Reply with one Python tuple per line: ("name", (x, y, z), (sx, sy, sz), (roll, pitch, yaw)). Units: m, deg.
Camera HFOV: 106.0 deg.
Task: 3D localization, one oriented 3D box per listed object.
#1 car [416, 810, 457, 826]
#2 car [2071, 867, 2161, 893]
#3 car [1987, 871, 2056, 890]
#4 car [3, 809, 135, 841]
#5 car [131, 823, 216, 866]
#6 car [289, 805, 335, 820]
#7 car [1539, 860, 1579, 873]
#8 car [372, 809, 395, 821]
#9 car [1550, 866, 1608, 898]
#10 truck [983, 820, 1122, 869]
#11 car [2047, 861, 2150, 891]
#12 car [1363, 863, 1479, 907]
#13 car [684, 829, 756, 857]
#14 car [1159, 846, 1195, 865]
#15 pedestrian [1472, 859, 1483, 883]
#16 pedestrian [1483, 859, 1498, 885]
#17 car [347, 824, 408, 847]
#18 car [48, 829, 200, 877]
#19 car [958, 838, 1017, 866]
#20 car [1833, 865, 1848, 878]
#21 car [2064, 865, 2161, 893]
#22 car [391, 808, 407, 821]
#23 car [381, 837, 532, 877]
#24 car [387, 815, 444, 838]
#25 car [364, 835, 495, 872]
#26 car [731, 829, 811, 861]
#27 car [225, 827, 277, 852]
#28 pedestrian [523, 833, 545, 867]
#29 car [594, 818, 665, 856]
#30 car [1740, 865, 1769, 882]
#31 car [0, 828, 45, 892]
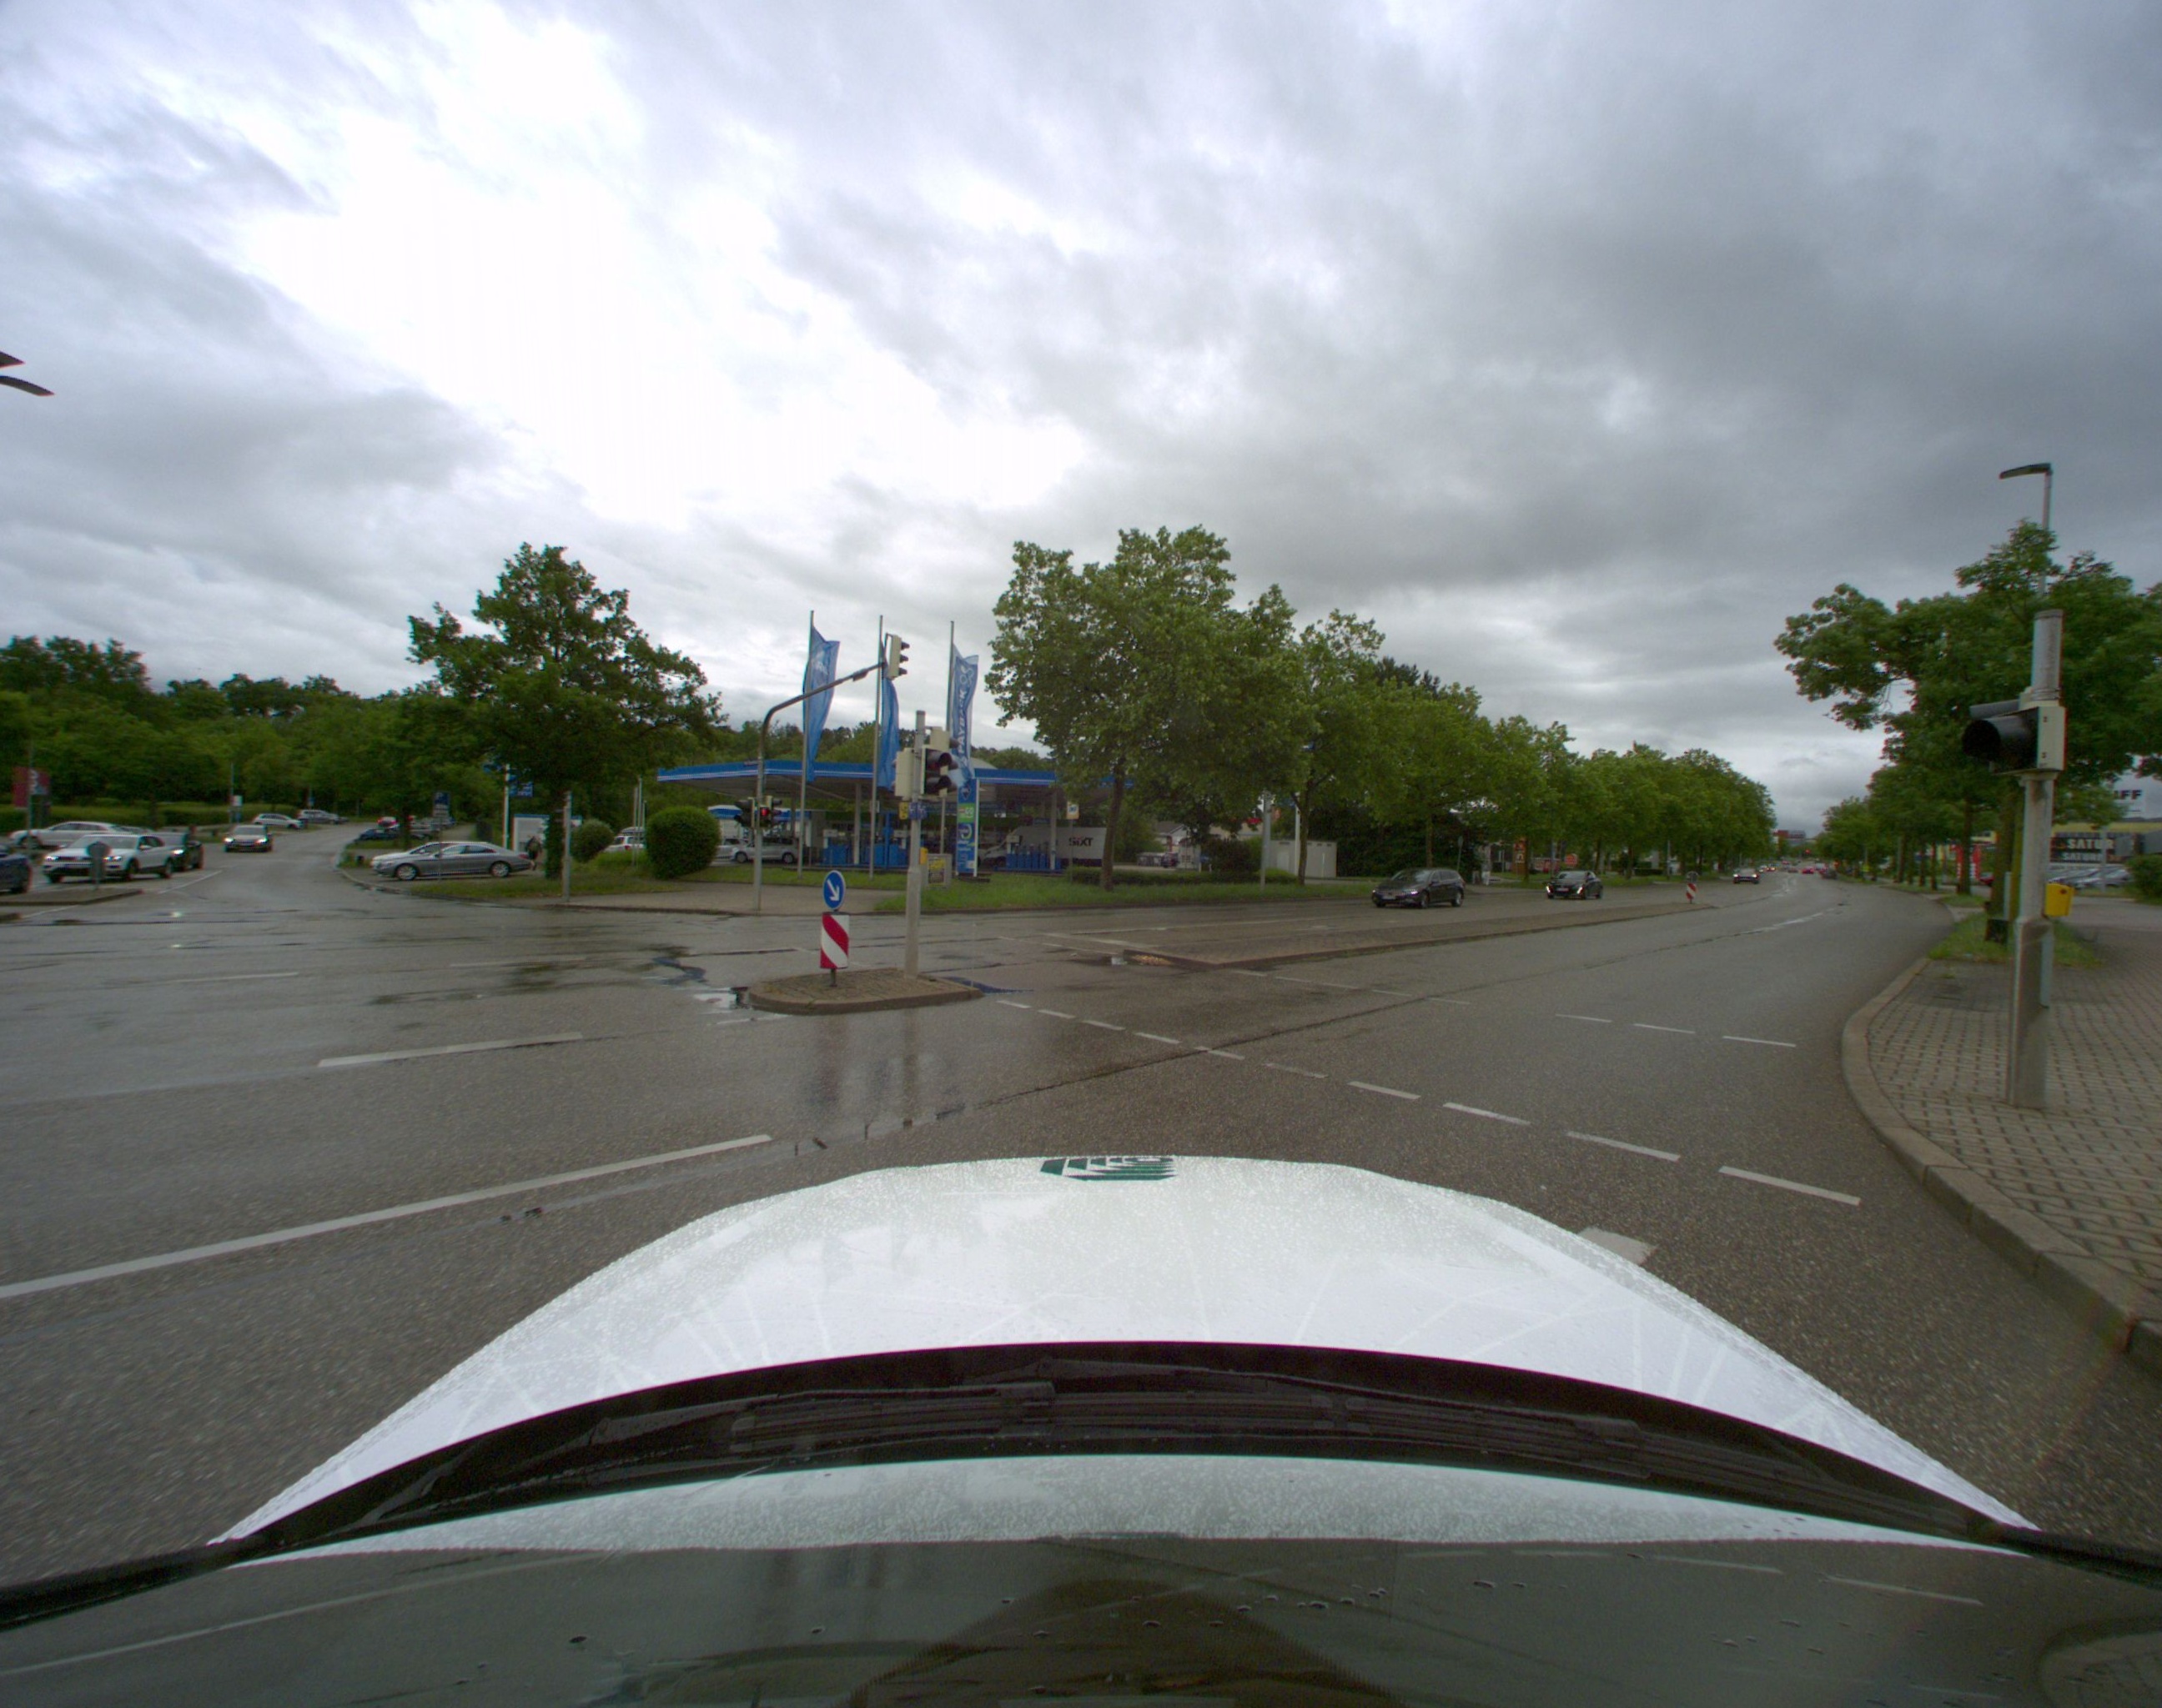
("car", (-80.885, -4.473, 102.211), (4.020, 1.739, 1.789), (1, -1, -40))
("car", (62.312, 1.539, 48.602), (3.796, 1.462, 1.838), (-4, -4, 42))
("car", (83.046, 2.343, 71.972), (3.805, 1.604, 1.806), (-2, -3, 43))
("car", (-56.499, -1.573, 45.607), (4.305, 1.609, 1.666), (1, -1, -37))
("car", (-38.267, -0.418, 34.422), (1.608, 1.696, 3.501), (2, 0, -36))
("car", (-98.835, -5.325, 104.716), (4.017, 1.794, 1.836), (1, -1, -36))
("car", (48.617, 1.270, 82.847), (1.297, 1.155, 3.150), (2, 3, -39))
("car", (-91.219, -5.085, 106.572), (1.820, 1.482, 3.711), (1, 0, -34))
("car", (24.587, 1.351, 40.170), (1.628, 1.508, 3.916), (0, -1, 44))
("truck", (-1.661, -0.513, 47.064), (7.844, 2.675, 2.149), (1, -1, -9))
("car", (67.388, 1.508, 54.035), (1.822, 1.787, 3.950), (2, -5, -45))
("car", (12.627, 1.106, 30.083), (4.754, 1.508, 1.977), (1, -1, -40))
("car", (-24.041, -0.707, 54.310), (3.983, 1.728, 1.791), (1, 0, -7))
("car", (9.528, 0.164, 80.871), (1.974, 1.838, 4.025), (0, -1, 32))
("pedestrian", (28.073, 1.167, 57.636), (0.507, 1.683, 0.543), (0, -1, 45))
("pedestrian", (28.802, 1.253, 57.242), (0.584, 1.766, 0.661), (2, 0, -24))
("car", (-55.052, -1.430, 63.815), (3.488, 1.654, 1.598), (2, -1, -39))
("car", (-32.904, -0.016, 28.181), (1.905, 1.553, 3.967), (1, 0, -25))
("car", (-5.877, -0.130, 51.489), (3.542, 1.582, 1.688), (3, -1, -3))
("car", (119.519, 2.799, 128.105), (1.729, 2.014, 4.023), (1, 0, 43))
("car", (64.381, 1.569, 50.610), (1.822, 1.544, 3.950), (2, -5, -45))
("car", (-109.052, -6.313, 130.277), (1.819, 1.739, 3.954), (2, -1, -39))
("car", (-26.237, 0.139, 34.338), (4.927, 1.549, 1.976), (1, 0, -41))
("car", (-57.558, -2.382, 70.491), (3.728, 1.750, 1.678), (2, -1, -39))
("car", (-30.238, -0.011, 37.901), (4.611, 1.589, 1.907), (1, -1, -41))
("car", (-18.821, -0.582, 49.609), (4.107, 1.807, 1.943), (2, 2, -4))
("car", (-52.741, -0.891, 51.784), (1.710, 1.456, 3.633), (1, 0, -36))
("pedestrian", (-26.987, -0.204, 40.175), (0.815, 1.661, 0.876), (1, -1, -39))
("car", (-22.893, -0.834, 41.245), (3.652, 1.797, 1.825), (1, -1, 39))
("car", (67.778, 1.955, 81.937), (4.624, 1.562, 1.795), (2, -1, -45))
("car", (-28.682, 0.144, 20.764), (1.810, 1.633, 4.499), (1, -1, -39))
